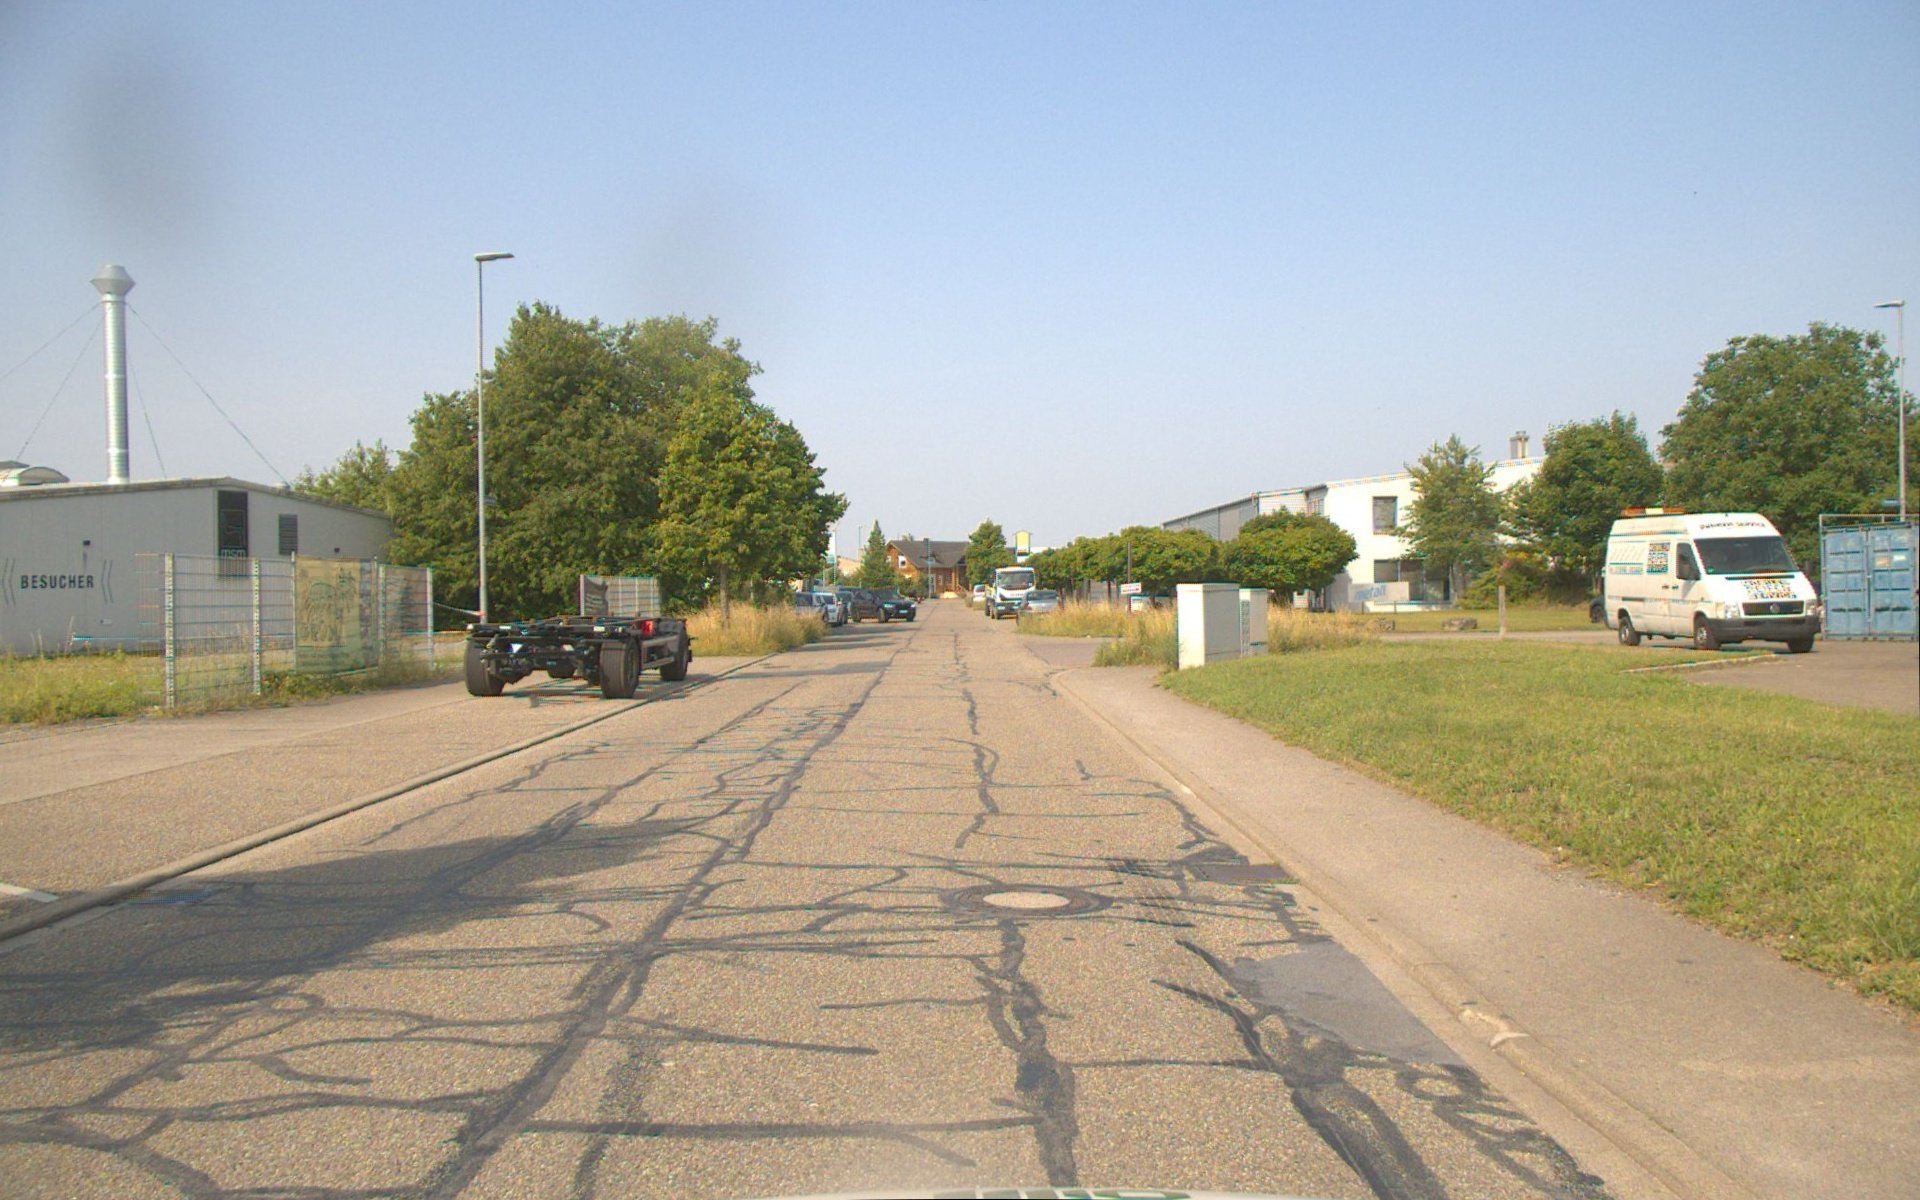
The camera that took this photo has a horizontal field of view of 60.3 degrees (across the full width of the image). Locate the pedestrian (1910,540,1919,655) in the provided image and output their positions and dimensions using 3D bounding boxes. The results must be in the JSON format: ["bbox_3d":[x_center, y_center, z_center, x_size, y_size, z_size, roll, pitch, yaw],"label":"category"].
[{"bbox_3d":[14.320,-0.049,24.195,0.689,1.668,0.747,-1,0,31],"label":"pedestrian"}]

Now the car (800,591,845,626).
[{"bbox_3d":[-6.115,0.375,73.886,1.649,1.495,4.253,0,0,0],"label":"car"}]

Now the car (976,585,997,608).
[{"bbox_3d":[2.375,-0.301,149.266,1.800,1.957,3.756,-2,0,0],"label":"car"}]

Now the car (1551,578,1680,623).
[{"bbox_3d":[22.366,0.024,56.625,1.754,1.433,4.325,-2,0,-18],"label":"car"}]

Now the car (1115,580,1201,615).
[{"bbox_3d":[8.649,-0.099,71.995,3.664,1.404,1.663,-2,1,-41],"label":"car"}]

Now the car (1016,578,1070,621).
[{"bbox_3d":[3.141,-0.033,63.413,1.757,1.544,4.423,-1,0,-1],"label":"car"}]

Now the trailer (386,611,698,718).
[{"bbox_3d":[-5.967,0.836,25.366,2.530,1.205,9.361,0,0,-1],"label":"trailer"}]

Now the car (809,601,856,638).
[{"bbox_3d":[-5.242,0.781,68.469,1.546,1.469,3.964,0,0,1],"label":"car"}]

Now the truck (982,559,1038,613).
[{"bbox_3d":[2.568,-0.736,87.010,2.312,2.728,6.506,-1,0,-4],"label":"truck"}]

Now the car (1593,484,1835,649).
[{"bbox_3d":[13.863,-0.587,30.898,1.933,2.753,5.882,-1,0,1],"label":"car"}]

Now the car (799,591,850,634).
[{"bbox_3d":[-5.210,0.468,64.066,1.534,1.565,3.689,-1,0,2],"label":"car"}]

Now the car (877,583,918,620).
[{"bbox_3d":[-3.120,0.036,83.653,1.818,1.744,4.226,-3,1,0],"label":"car"}]
